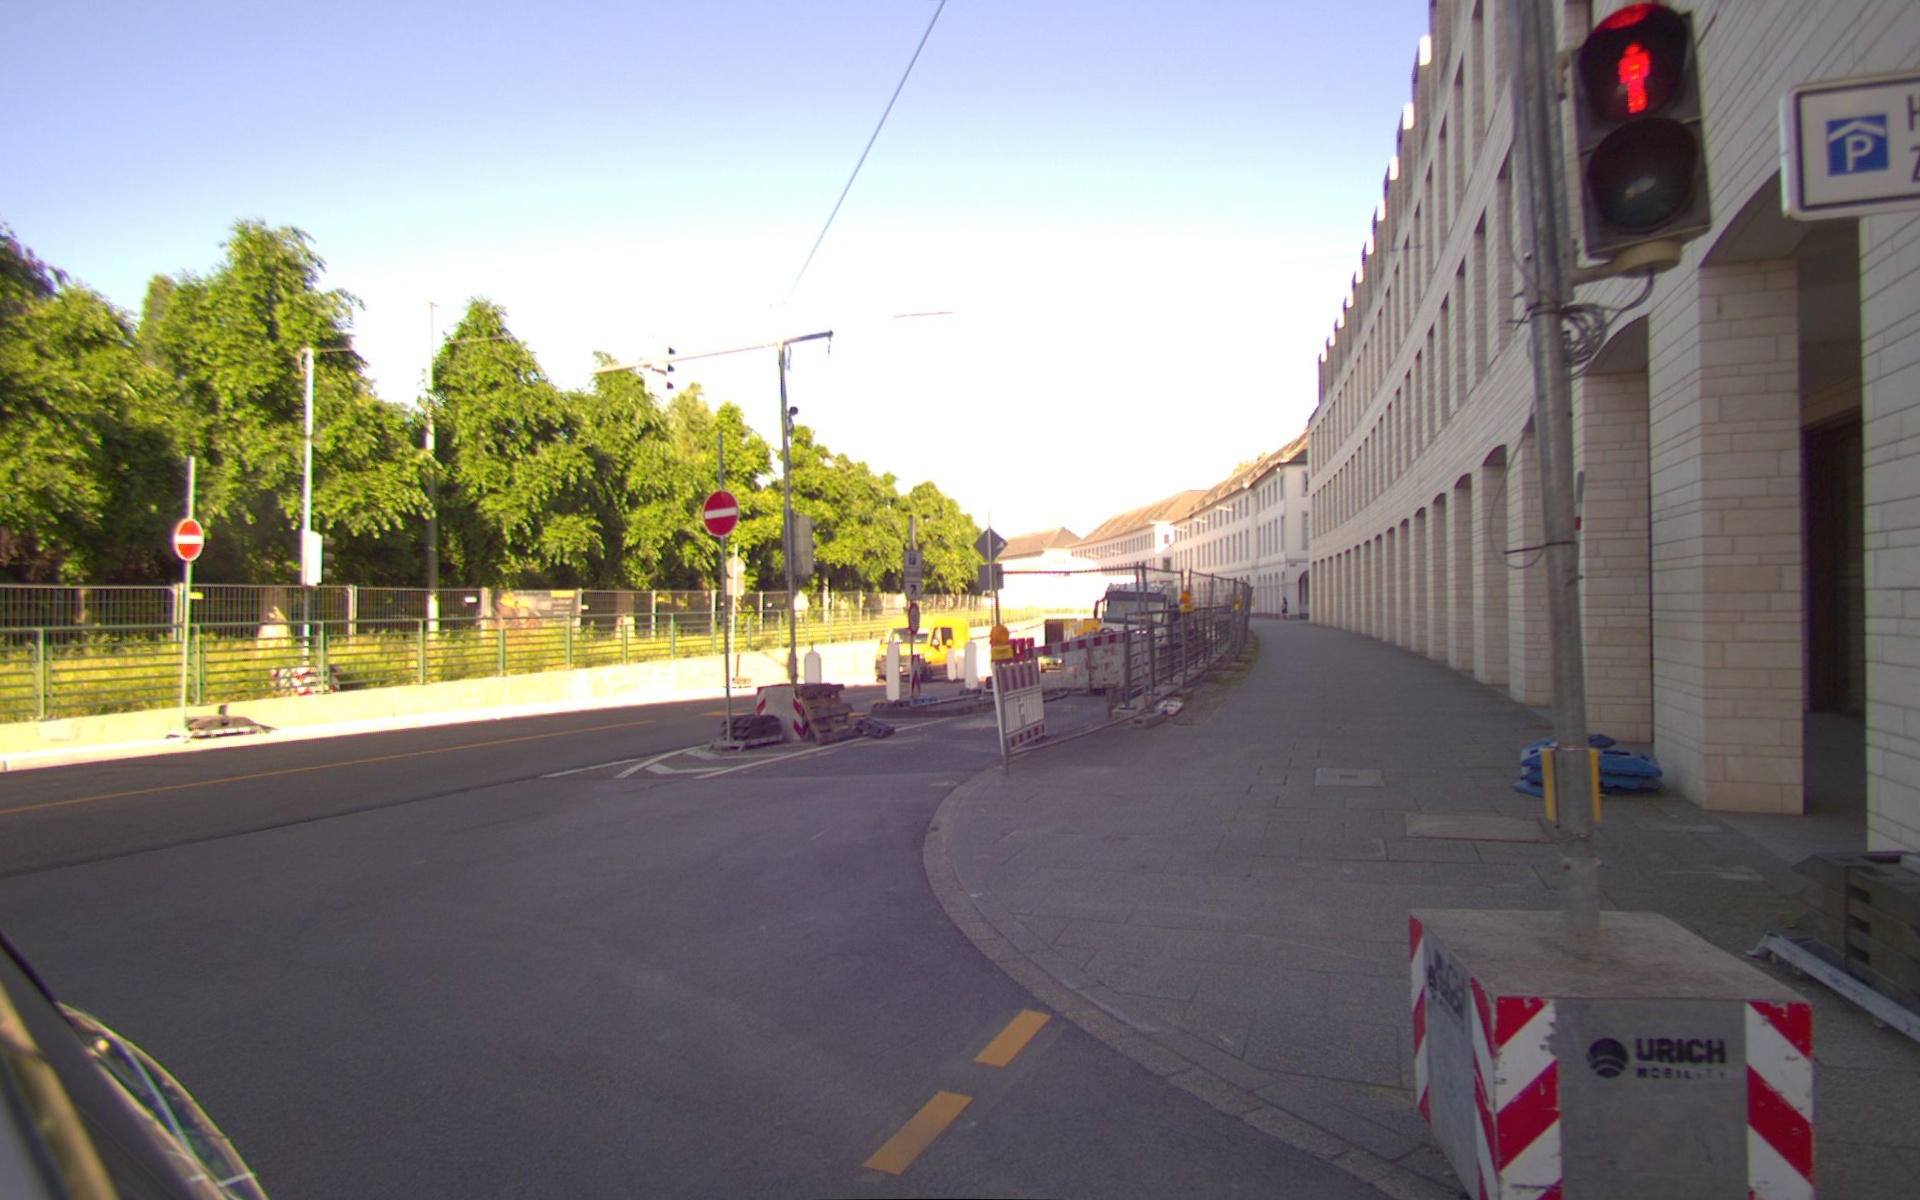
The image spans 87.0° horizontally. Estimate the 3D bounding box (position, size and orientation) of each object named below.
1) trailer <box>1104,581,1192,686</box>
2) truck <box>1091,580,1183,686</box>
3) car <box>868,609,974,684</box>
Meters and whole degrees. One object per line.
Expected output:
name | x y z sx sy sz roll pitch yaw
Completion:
trailer | 7.862 1.443 41.394 2.627 3.697 8.703 3 -2 16
truck | 6.682 1.277 37.531 2.566 3.516 5.782 2 -3 17
car | -1.369 1.847 39.377 2.100 2.645 6.949 -1 -3 16
